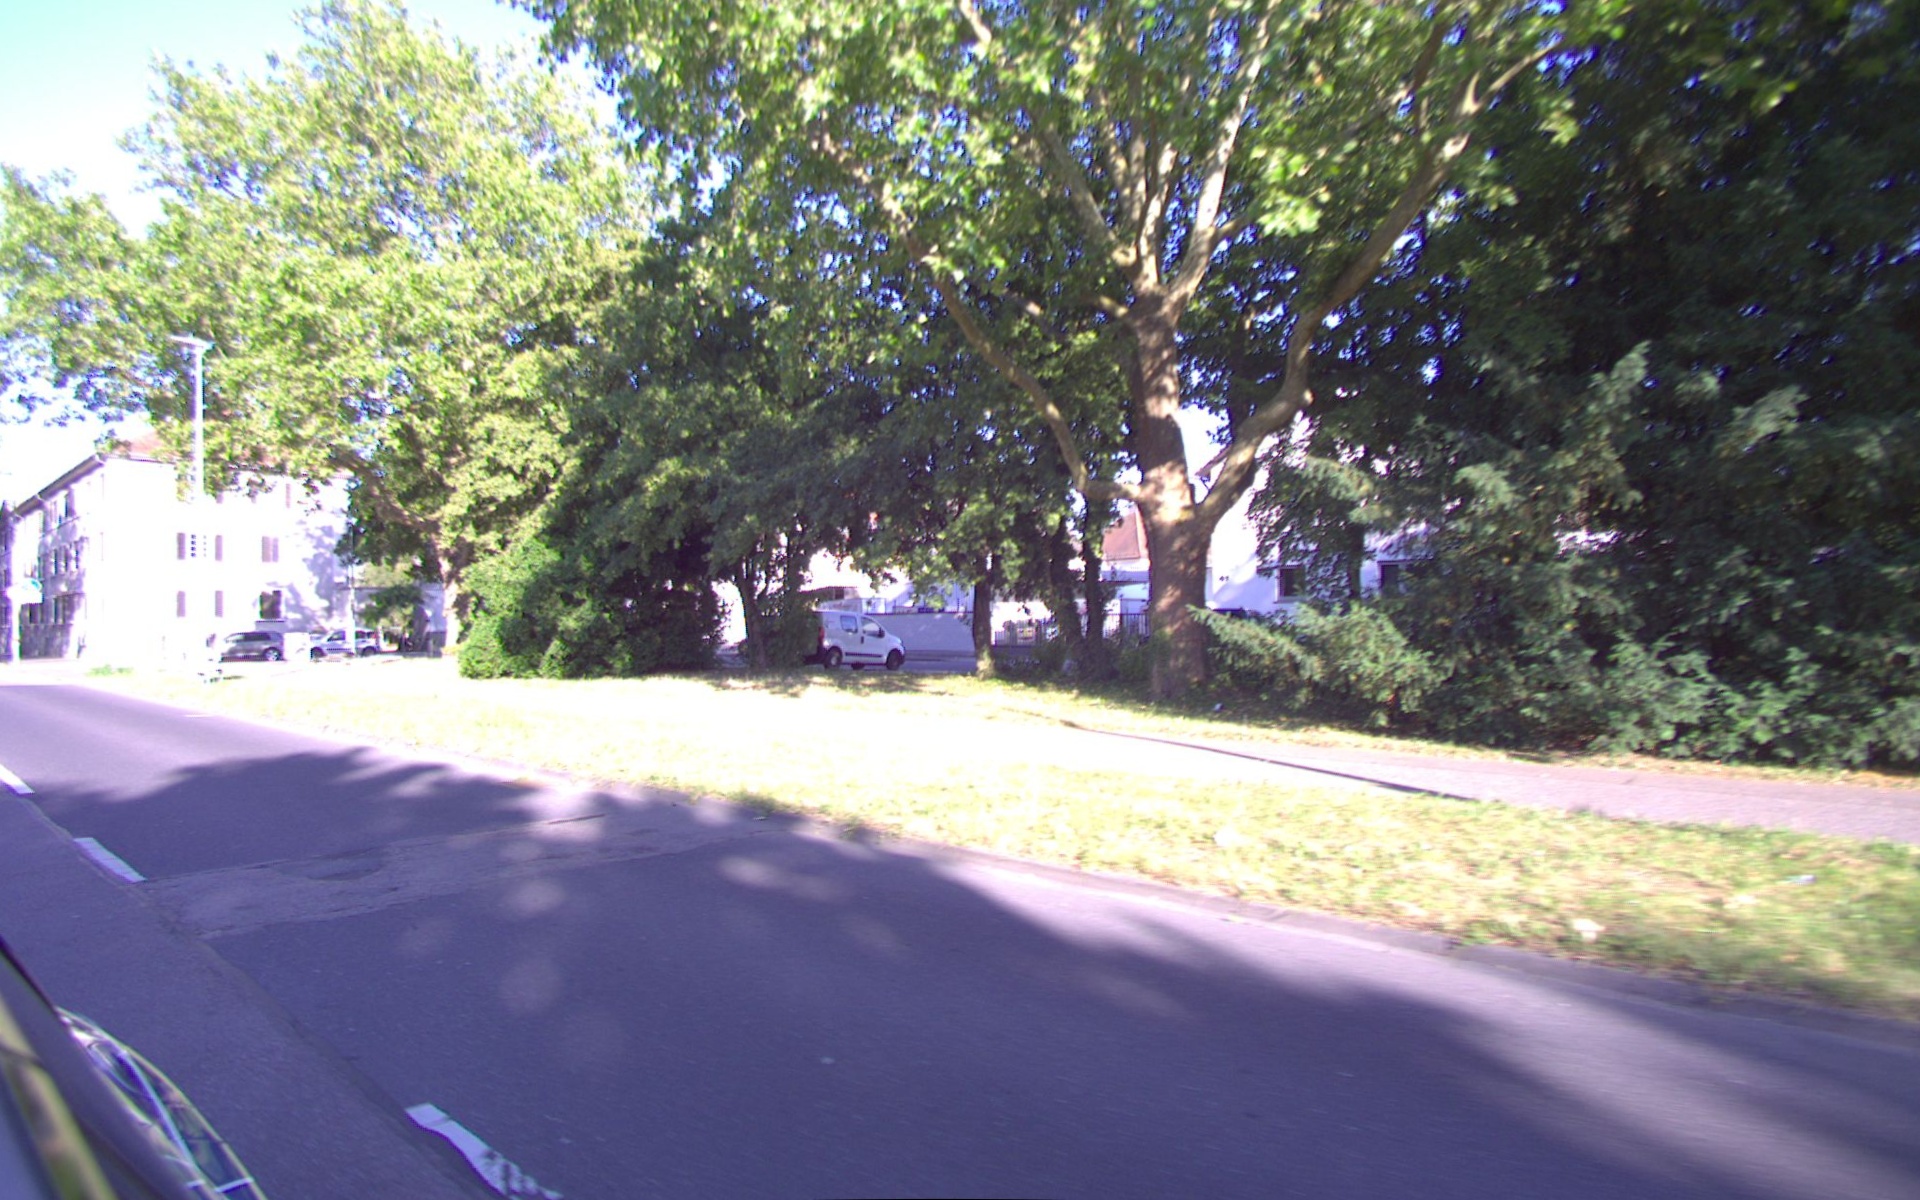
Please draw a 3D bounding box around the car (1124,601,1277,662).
[{"bbox_3d":[7.279,0.970,30.873,4.172,1.754,1.874,-2,-3,40],"label":"car"}]

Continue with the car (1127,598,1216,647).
[{"bbox_3d":[10.329,1.063,49.365,3.932,2.266,2.006,0,-1,-32],"label":"car"}]

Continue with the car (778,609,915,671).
[{"bbox_3d":[-3.234,1.122,29.514,1.724,1.697,3.949,-2,-2,37],"label":"car"}]

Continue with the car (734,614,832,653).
[{"bbox_3d":[-7.672,1.445,43.585,4.356,1.573,1.839,-2,-2,41],"label":"car"}]

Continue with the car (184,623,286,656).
[{"bbox_3d":[-34.624,1.877,48.394,3.934,1.429,1.918,0,0,-37],"label":"car"}]

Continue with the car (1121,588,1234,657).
[{"bbox_3d":[7.844,0.774,36.220,2.000,2.306,4.267,-2,-1,44],"label":"car"}]

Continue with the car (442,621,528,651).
[{"bbox_3d":[-25.777,1.937,54.956,3.934,1.573,1.869,2,-3,-36],"label":"car"}]

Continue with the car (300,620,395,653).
[{"bbox_3d":[-30.899,1.808,51.072,3.934,1.573,1.869,0,-1,-36],"label":"car"}]
